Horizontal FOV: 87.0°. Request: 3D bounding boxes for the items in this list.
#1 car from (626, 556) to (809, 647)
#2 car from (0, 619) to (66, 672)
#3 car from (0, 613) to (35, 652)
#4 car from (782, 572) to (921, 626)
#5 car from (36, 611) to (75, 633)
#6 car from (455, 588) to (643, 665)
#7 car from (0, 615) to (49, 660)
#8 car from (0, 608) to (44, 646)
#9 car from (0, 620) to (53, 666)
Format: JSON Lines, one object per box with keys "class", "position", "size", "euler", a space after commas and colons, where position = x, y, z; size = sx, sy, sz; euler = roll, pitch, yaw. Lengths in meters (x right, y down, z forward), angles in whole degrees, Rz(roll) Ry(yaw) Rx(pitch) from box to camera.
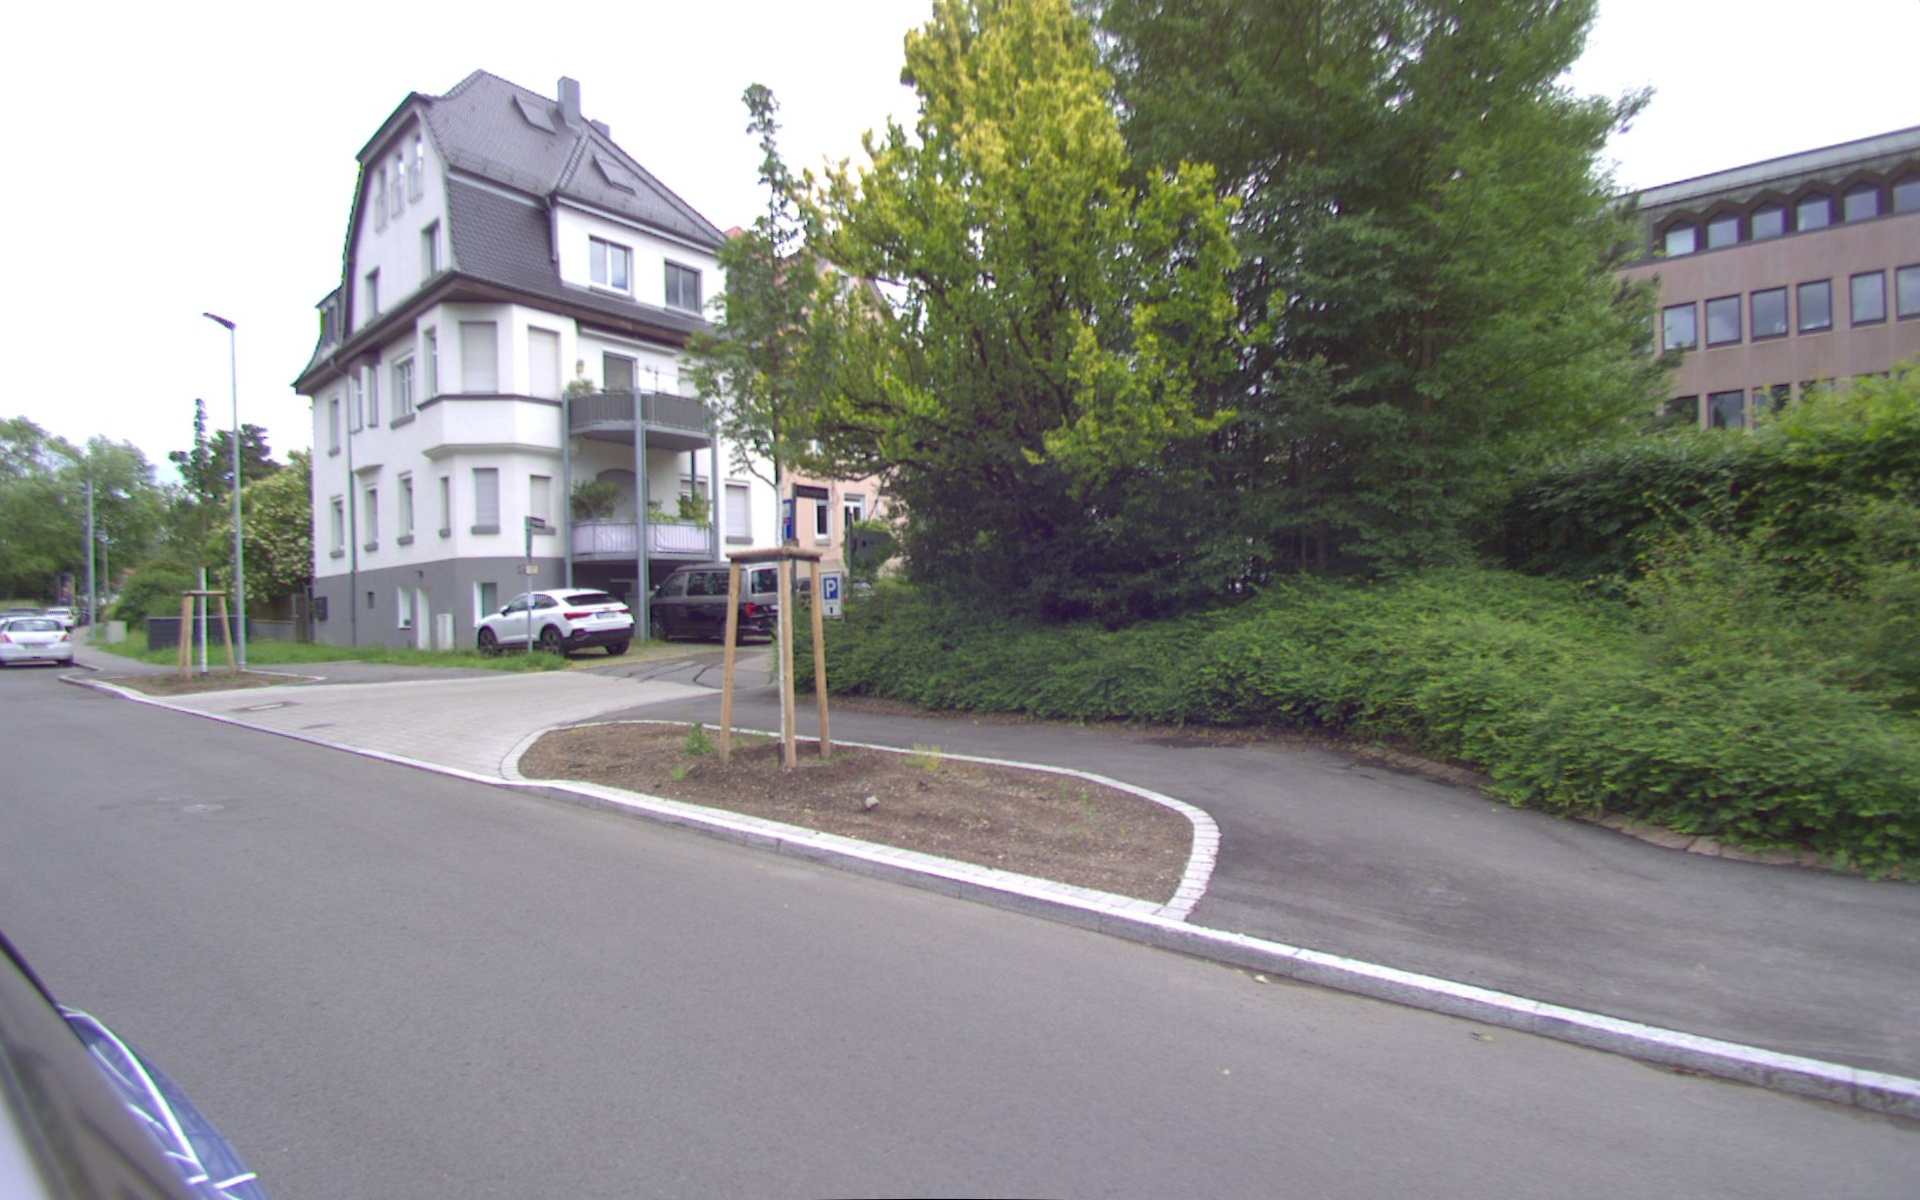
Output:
{"class": "car", "position": [-6.261, -0.005, 25.851], "size": [4.756, 2.066, 1.888], "euler": [0, 3, 37]}
{"class": "car", "position": [-27.917, 1.308, 30.120], "size": [4.072, 1.481, 1.624], "euler": [-1, -1, 44]}
{"class": "car", "position": [-41.821, 1.386, 44.467], "size": [1.641, 1.594, 4.083], "euler": [1, -1, -42]}
{"class": "car", "position": [-3.414, -0.046, 31.455], "size": [4.314, 1.509, 1.665], "euler": [0, 4, 37]}
{"class": "car", "position": [-62.015, 1.520, 69.417], "size": [1.709, 1.439, 3.465], "euler": [1, -1, -37]}
{"class": "car", "position": [-9.598, 0.544, 23.509], "size": [4.589, 1.544, 1.888], "euler": [0, 4, 37]}
{"class": "car", "position": [-35.673, 1.398, 38.061], "size": [4.816, 1.585, 1.707], "euler": [-1, -3, 44]}
{"class": "car", "position": [-47.294, 1.335, 50.830], "size": [1.774, 1.814, 4.070], "euler": [1, -1, -41]}
{"class": "car", "position": [-32.000, 1.400, 34.217], "size": [4.729, 1.400, 1.705], "euler": [0, -1, 45]}
